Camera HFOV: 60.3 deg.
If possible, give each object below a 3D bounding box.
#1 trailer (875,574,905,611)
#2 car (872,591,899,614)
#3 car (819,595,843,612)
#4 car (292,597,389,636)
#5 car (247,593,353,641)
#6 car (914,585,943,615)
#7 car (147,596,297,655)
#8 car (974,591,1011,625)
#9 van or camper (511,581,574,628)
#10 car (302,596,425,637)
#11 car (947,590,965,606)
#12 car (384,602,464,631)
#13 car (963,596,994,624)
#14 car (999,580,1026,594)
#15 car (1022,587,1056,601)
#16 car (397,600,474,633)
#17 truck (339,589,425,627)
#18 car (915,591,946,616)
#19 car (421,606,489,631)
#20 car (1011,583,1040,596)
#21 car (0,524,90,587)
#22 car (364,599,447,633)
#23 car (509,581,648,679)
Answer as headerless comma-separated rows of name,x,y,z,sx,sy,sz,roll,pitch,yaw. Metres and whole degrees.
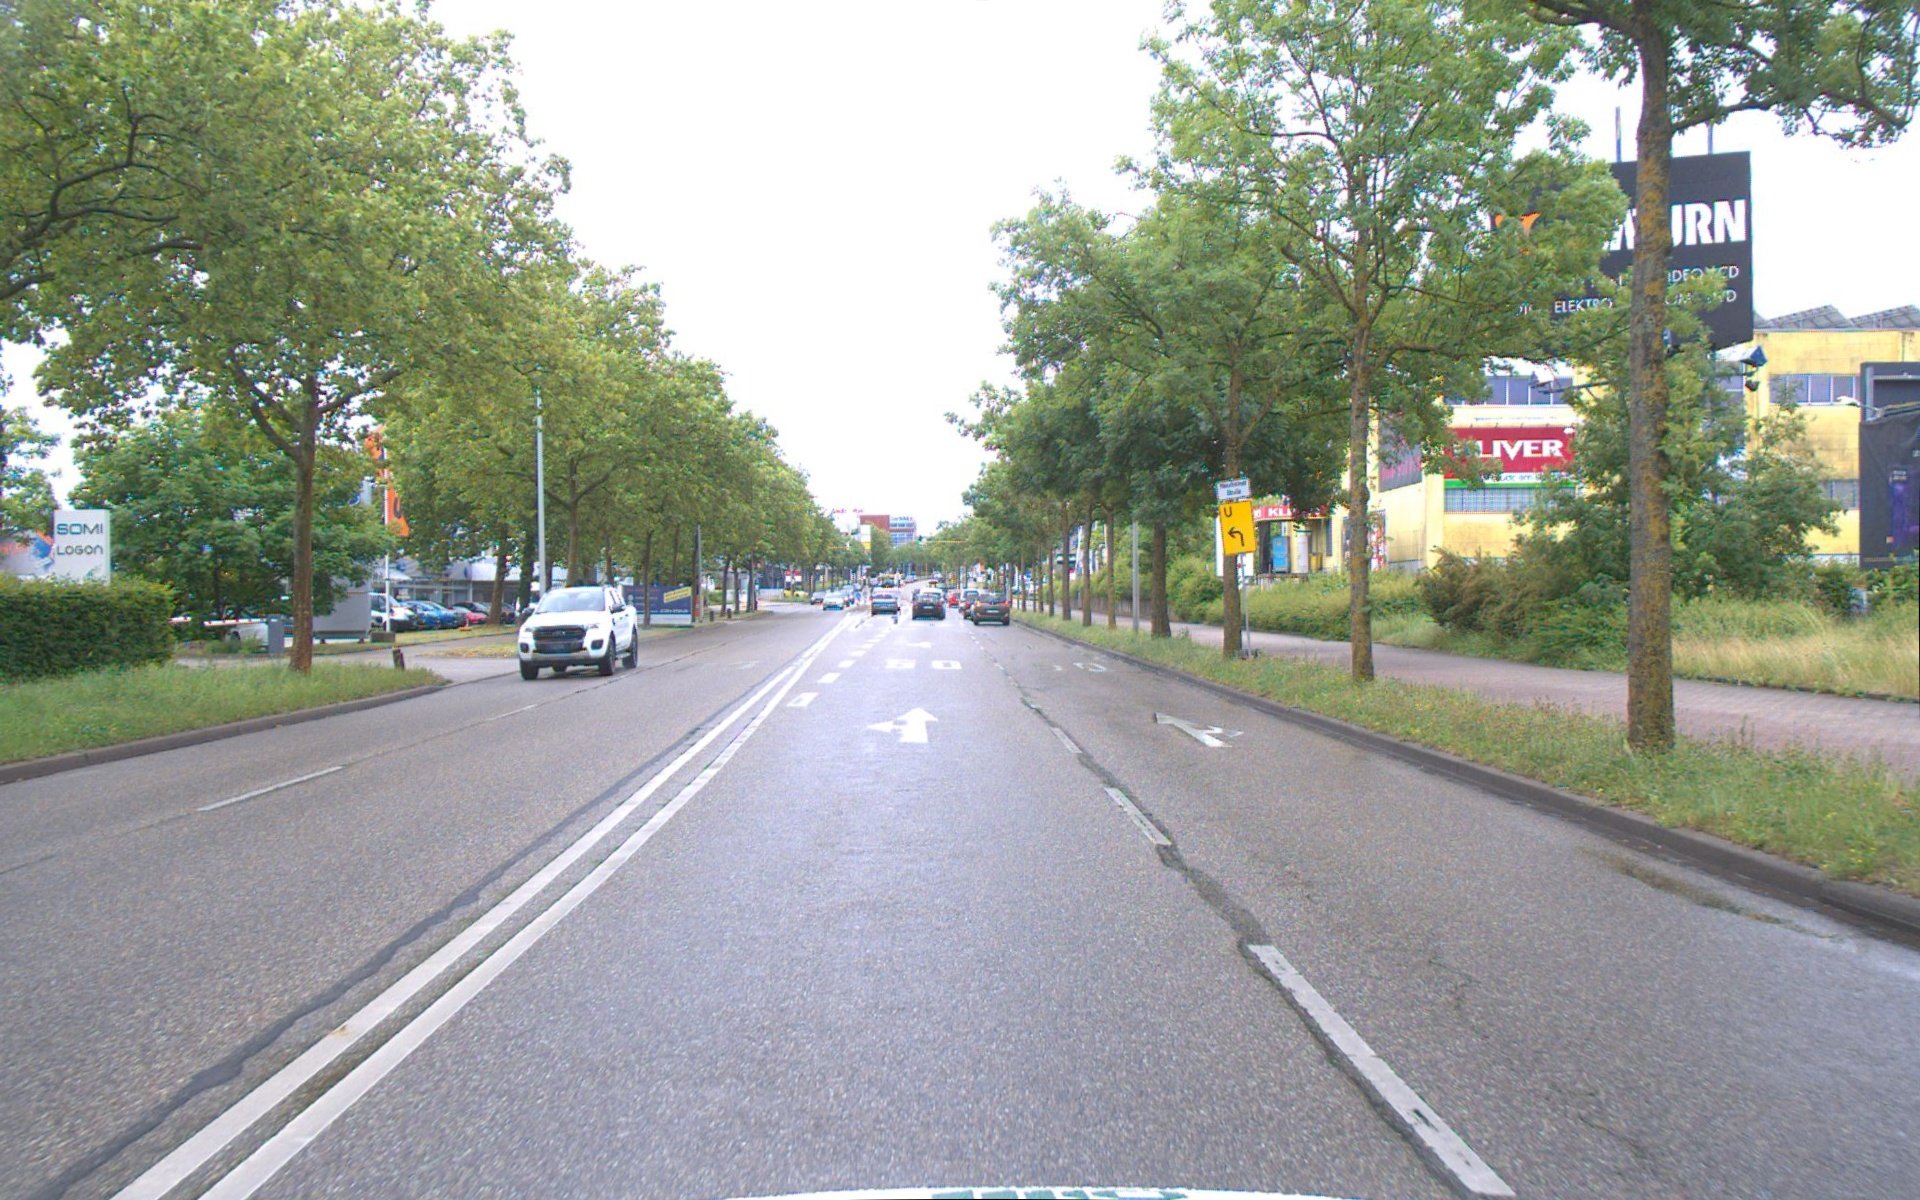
trailer,-5.757,-0.585,135.480,2.325,2.947,5.542,-1,0,-3
car,-5.409,0.175,120.553,1.868,1.606,4.879,-1,0,-1
car,-11.464,0.296,146.758,1.956,1.454,4.678,-2,0,-7
car,-29.552,0.772,78.984,3.908,1.797,1.881,-1,0,-4
car,-29.034,0.727,72.891,3.908,2.049,1.881,-1,0,-4
car,-2.251,-0.001,116.008,1.953,2.049,3.998,1,-1,-2
car,-20.884,0.680,47.067,2.075,1.522,5.244,-1,0,-2
car,1.637,0.398,83.961,1.691,1.652,4.469,-1,0,-1
van or camper,-23.113,0.223,91.882,1.953,2.513,6.400,1,0,-1
car,-29.740,0.812,82.614,5.270,1.936,2.413,-1,0,-5
car,-0.369,-0.234,156.197,1.661,1.468,3.988,-1,0,-1
car,-30.407,0.919,93.895,3.902,1.547,1.867,-1,0,13
car,1.113,0.613,103.345,1.764,1.614,4.450,1,1,-1
car,7.717,-1.961,243.415,4.027,1.938,1.799,-1,1,0
car,9.351,-0.736,195.930,1.896,1.604,4.266,-1,1,39
car,-30.588,0.957,96.462,3.902,1.797,1.866,-1,0,15
truck,-29.996,0.413,85.886,3.916,1.870,1.995,-1,0,-11
car,-1.756,0.178,97.335,1.746,1.422,3.998,0,0,-2
car,-32.548,1.189,106.615,3.901,1.493,1.601,-1,0,11
car,8.452,-1.365,213.934,3.567,1.563,1.619,-1,1,-42
car,-30.310,-1.395,52.862,3.906,1.922,1.963,-1,0,-1
car,-30.594,0.881,91.279,3.902,1.797,1.867,-1,0,14
car,-7.974,0.577,35.034,1.873,1.837,5.338,-2,0,-3
